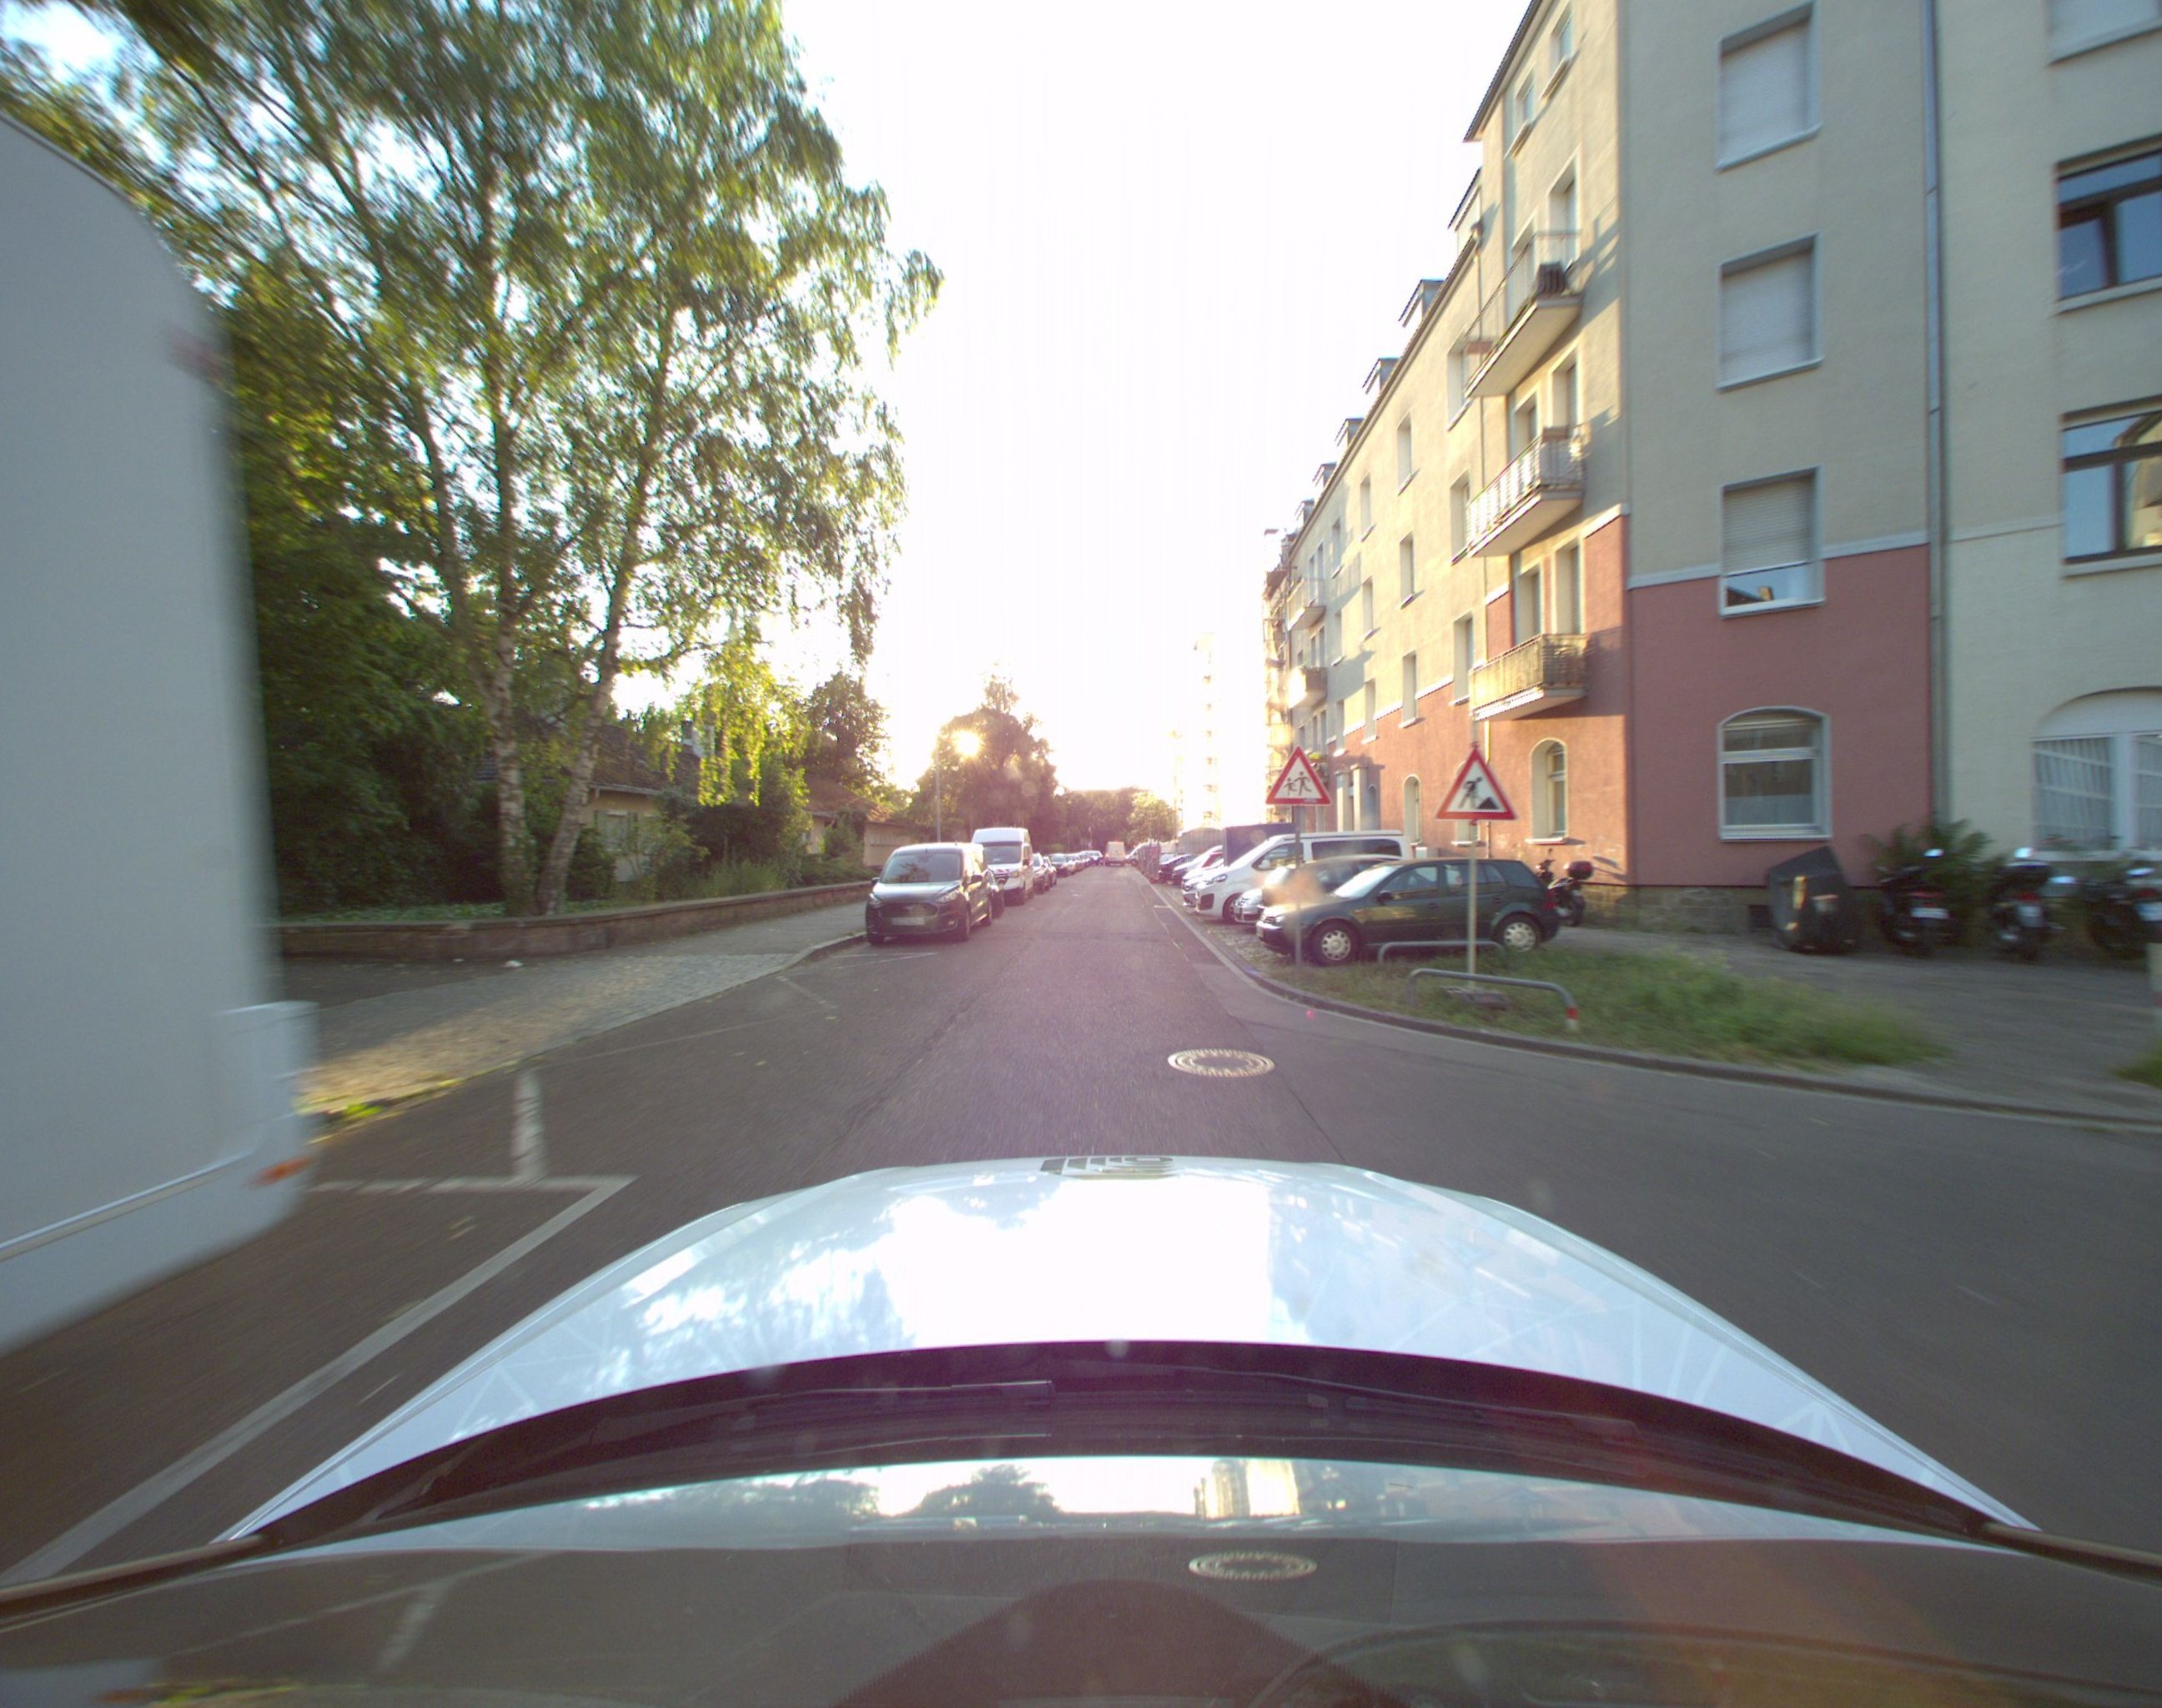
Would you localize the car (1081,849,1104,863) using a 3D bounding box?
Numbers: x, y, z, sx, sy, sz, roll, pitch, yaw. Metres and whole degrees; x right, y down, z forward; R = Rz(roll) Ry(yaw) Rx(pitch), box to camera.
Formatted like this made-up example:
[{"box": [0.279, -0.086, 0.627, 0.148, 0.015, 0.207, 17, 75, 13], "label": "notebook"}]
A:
[{"box": [1.333, 0.217, 92.446, 1.793, 1.569, 4.578, -1, 0, 10], "label": "car"}]

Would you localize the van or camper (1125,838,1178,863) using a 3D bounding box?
[{"box": [8.052, -0.444, 93.149, 5.907, 2.770, 2.110, 0, 0, 1], "label": "van or camper"}]

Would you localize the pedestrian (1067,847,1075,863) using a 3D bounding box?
[{"box": [-1.195, 0.150, 95.077, 0.934, 1.830, 0.787, 0, 0, 1], "label": "pedestrian"}]

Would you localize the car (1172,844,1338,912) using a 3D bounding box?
[{"box": [4.502, 0.609, 21.552, 3.974, 1.640, 2.000, -1, 0, 0], "label": "car"}]

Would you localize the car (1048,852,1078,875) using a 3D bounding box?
[{"box": [-1.223, 0.646, 56.624, 1.775, 1.445, 4.750, -3, 0, 2], "label": "car"}]

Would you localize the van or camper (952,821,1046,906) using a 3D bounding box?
[{"box": [-2.556, 0.257, 26.981, 1.984, 2.456, 6.091, -1, 0, 5], "label": "van or camper"}]

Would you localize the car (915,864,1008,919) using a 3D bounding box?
[{"box": [-2.982, 0.901, 21.179, 1.989, 1.189, 4.032, 0, 0, -3], "label": "car"}]

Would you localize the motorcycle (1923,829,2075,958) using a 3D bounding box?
[{"box": [11.610, 0.424, 10.406, 0.735, 1.434, 2.670, -1, 0, 36], "label": "motorcycle"}]

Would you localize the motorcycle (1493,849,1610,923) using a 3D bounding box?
[{"box": [8.642, 0.530, 15.114, 0.739, 1.235, 2.655, -1, 0, 3], "label": "motorcycle"}]

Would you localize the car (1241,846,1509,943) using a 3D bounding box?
[{"box": [4.980, 0.652, 14.244, 3.974, 1.530, 2.000, -1, 0, 0], "label": "car"}]

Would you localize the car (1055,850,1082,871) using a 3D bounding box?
[{"box": [-0.964, 0.481, 65.087, 1.853, 1.538, 4.761, -2, 0, 2], "label": "car"}]

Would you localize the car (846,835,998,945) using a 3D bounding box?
[{"box": [-2.941, 0.586, 16.219, 1.903, 1.788, 4.951, -2, 0, 1], "label": "car"}]

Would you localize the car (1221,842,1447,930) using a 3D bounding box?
[{"box": [4.989, 0.598, 16.504, 3.974, 1.618, 2.000, -1, 0, 0], "label": "car"}]

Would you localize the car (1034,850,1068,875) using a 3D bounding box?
[{"box": [-1.829, 0.513, 50.995, 1.987, 1.453, 3.999, 0, 0, -1], "label": "car"}]

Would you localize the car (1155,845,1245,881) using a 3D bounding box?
[{"box": [5.614, 0.400, 38.796, 4.135, 1.615, 1.874, -1, 0, 3], "label": "car"}]

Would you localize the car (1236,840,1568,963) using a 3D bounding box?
[{"box": [4.472, 0.625, 11.790, 4.090, 1.585, 1.854, -1, 0, -1], "label": "car"}]

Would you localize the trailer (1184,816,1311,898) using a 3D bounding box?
[{"box": [5.283, 0.086, 26.181, 3.557, 2.337, 1.940, -3, 0, -1], "label": "trailer"}]

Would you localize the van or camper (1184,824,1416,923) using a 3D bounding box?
[{"box": [4.904, 0.419, 18.757, 4.816, 2.096, 2.041, -1, 0, 1], "label": "van or camper"}]

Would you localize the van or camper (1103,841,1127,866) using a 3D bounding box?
[{"box": [3.730, -0.092, 89.343, 2.444, 2.547, 6.087, 1, 0, 3], "label": "van or camper"}]

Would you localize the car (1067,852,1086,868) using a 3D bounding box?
[{"box": [-0.425, 0.552, 76.129, 1.595, 1.431, 3.804, -3, 0, 1], "label": "car"}]

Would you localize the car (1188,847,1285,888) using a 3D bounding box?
[{"box": [6.355, 0.543, 33.629, 3.680, 1.610, 1.745, -1, 0, 0], "label": "car"}]

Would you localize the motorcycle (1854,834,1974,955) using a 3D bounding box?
[{"box": [10.982, 0.464, 10.820, 0.735, 1.434, 2.368, -1, 0, 36], "label": "motorcycle"}]

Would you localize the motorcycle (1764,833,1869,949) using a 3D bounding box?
[{"box": [10.052, 0.439, 11.220, 0.828, 1.434, 2.368, -1, 0, 36], "label": "motorcycle"}]

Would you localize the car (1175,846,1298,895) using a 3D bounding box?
[{"box": [5.430, 0.557, 28.797, 3.975, 1.637, 1.902, -1, 0, -1], "label": "car"}]

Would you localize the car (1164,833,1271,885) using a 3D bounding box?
[{"box": [6.006, 0.185, 36.020, 4.260, 1.979, 1.818, -3, 1, -6], "label": "car"}]

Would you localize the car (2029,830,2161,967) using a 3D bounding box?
[{"box": [12.432, 0.457, 9.686, 0.835, 1.456, 2.795, -1, 0, 35], "label": "car"}]

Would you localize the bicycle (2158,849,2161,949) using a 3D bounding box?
[{"box": [14.437, 0.571, 9.662, 1.880, 1.281, 0.689, 0, 0, 28], "label": "bicycle"}]

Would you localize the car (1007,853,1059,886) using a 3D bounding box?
[{"box": [-2.198, 0.679, 38.527, 1.985, 1.453, 4.291, 0, 0, 3], "label": "car"}]

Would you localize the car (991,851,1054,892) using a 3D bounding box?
[{"box": [-2.289, 0.654, 33.141, 1.985, 1.519, 4.792, 0, 0, 3], "label": "car"}]
